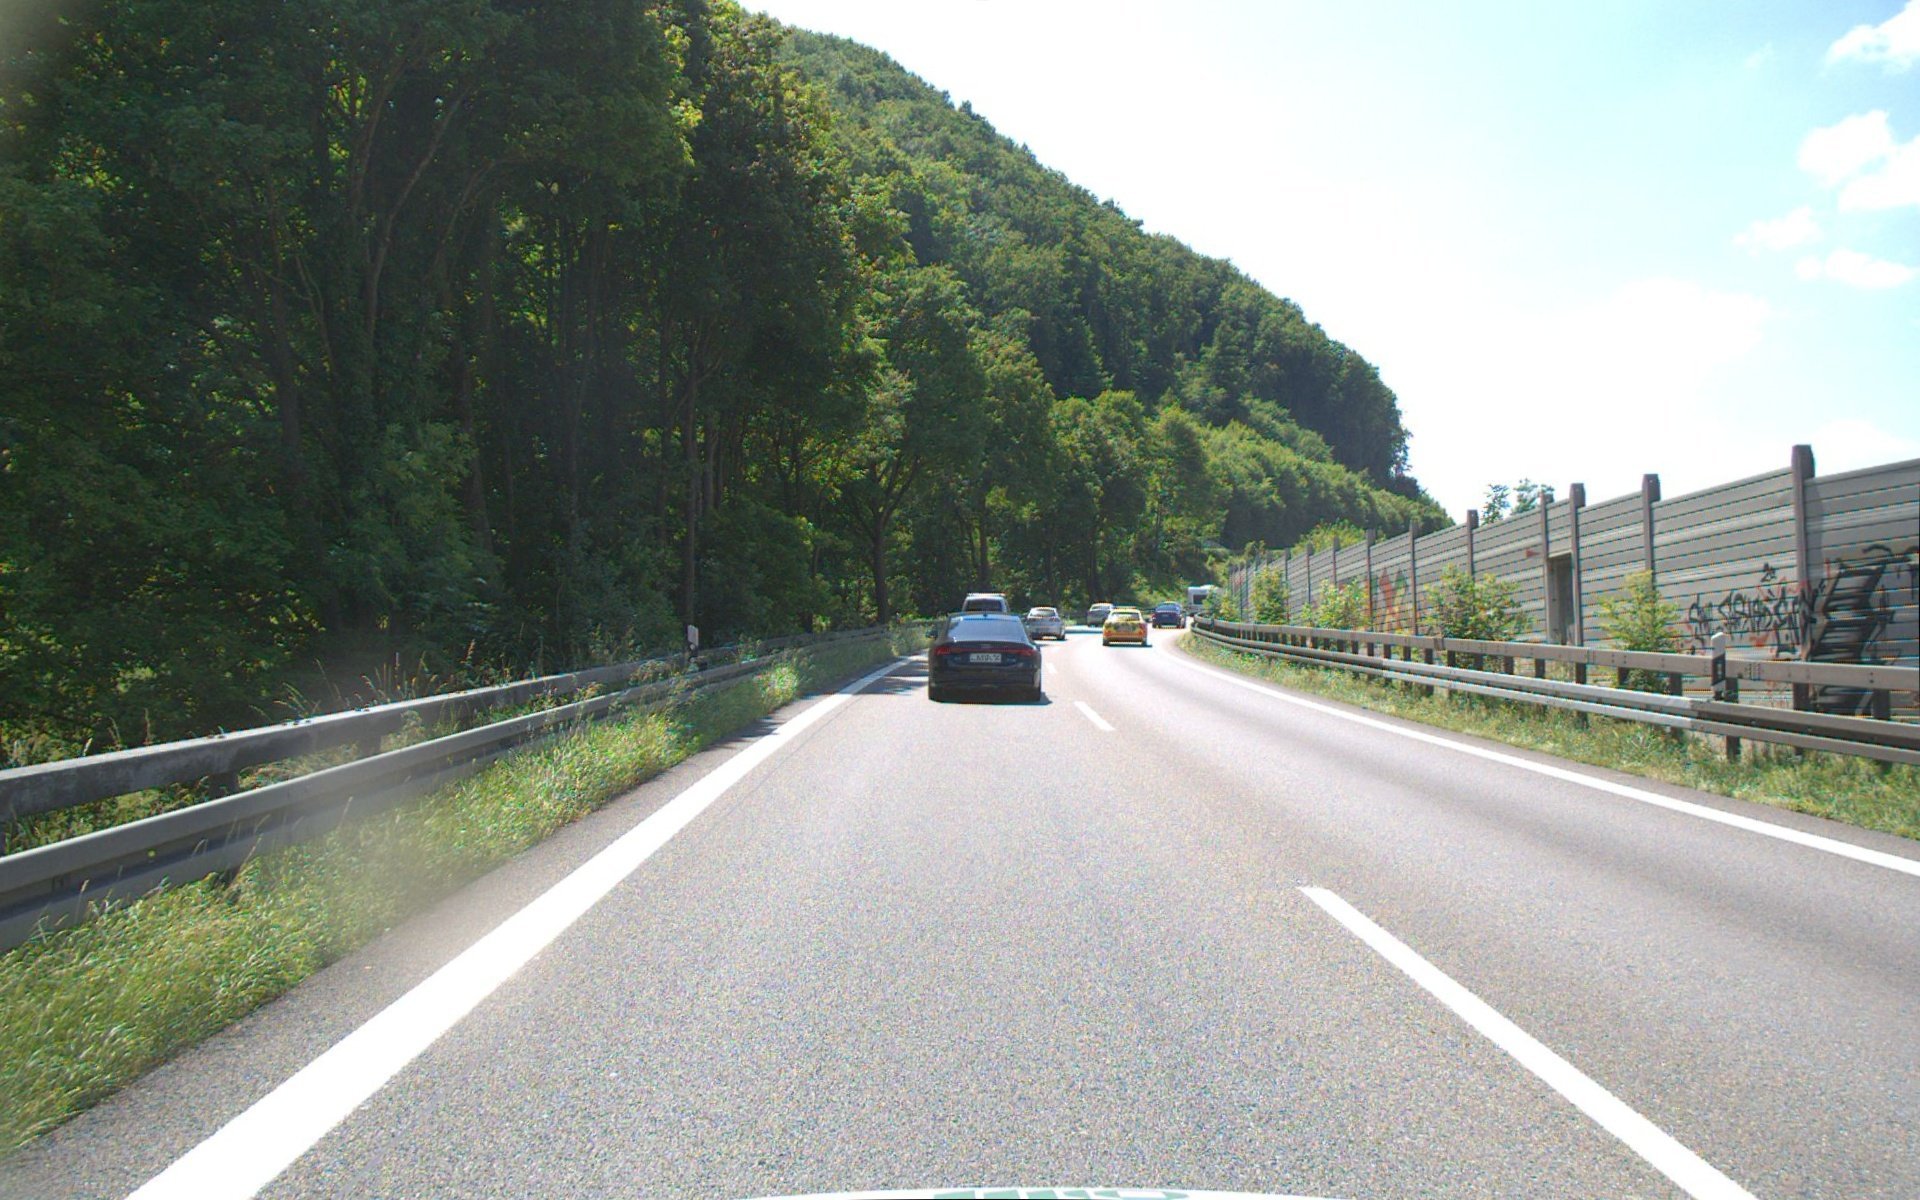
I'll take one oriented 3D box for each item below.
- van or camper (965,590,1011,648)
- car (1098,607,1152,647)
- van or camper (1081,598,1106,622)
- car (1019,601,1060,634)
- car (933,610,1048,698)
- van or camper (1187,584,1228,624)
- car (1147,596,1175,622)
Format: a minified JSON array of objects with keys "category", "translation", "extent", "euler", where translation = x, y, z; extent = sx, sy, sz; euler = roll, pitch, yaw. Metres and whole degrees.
[{"category":"van or camper","translation":[0.912,0.623,54.671],"extent":[1.363,1.848,3.999],"euler":[-1,-1,-1]},{"category":"car","translation":[6.633,1.085,66.918],"extent":[1.824,1.514,4.000],"euler":[-1,-1,0]},{"category":"van or camper","translation":[8.731,0.670,107.903],"extent":[1.525,1.561,3.507],"euler":[-1,-1,6]},{"category":"car","translation":[3.567,0.789,74.549],"extent":[1.711,1.456,4.000],"euler":[-1,-1,1]},{"category":"car","translation":[0.448,0.875,27.966],"extent":[1.800,1.373,3.999],"euler":[-1,-1,-1]},{"category":"van or camper","translation":[18.987,0.344,126.826],"extent":[2.403,2.969,6.130],"euler":[-1,-1,15]},{"category":"car","translation":[12.943,0.614,106.764],"extent":[1.736,1.665,4.002],"euler":[0,-1,6]}]
